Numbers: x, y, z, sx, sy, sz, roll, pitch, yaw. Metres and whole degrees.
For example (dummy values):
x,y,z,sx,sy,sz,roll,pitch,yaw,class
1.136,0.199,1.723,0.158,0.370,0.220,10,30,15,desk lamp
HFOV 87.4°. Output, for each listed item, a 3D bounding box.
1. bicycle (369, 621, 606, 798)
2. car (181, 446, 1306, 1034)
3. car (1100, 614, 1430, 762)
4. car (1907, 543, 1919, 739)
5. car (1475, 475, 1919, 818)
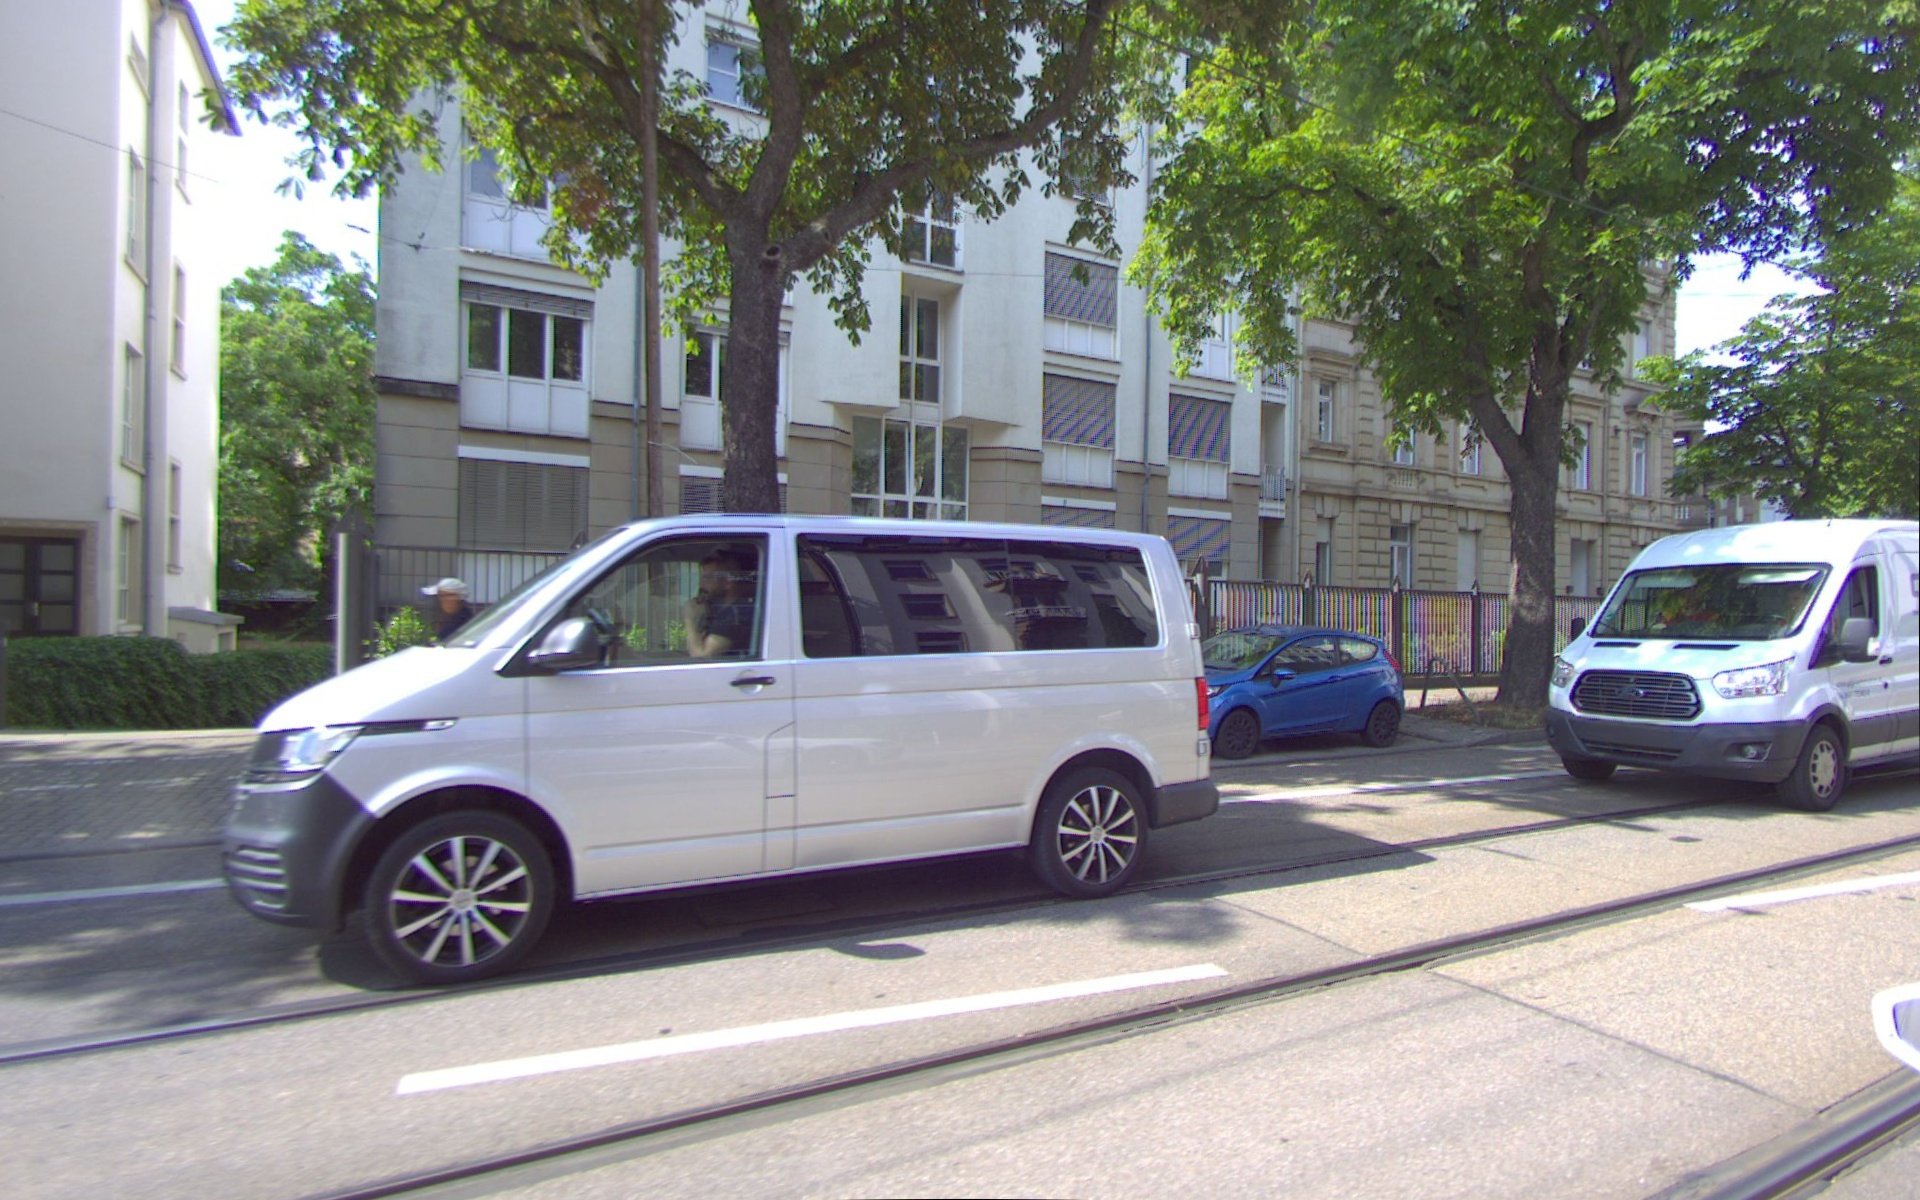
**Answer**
x,y,z,sx,sy,sz,roll,pitch,yaw,class
-4.141,0.903,8.791,2.016,1.326,0.620,2,1,21,bicycle
-0.759,0.543,5.443,5.111,1.989,1.980,1,-2,-26,car
3.850,1.017,12.516,4.036,1.539,1.542,2,1,-30,car
15.666,0.584,13.722,6.289,2.541,2.305,1,-1,-30,car
8.169,0.373,9.987,6.284,2.541,2.306,0,0,-29,car
